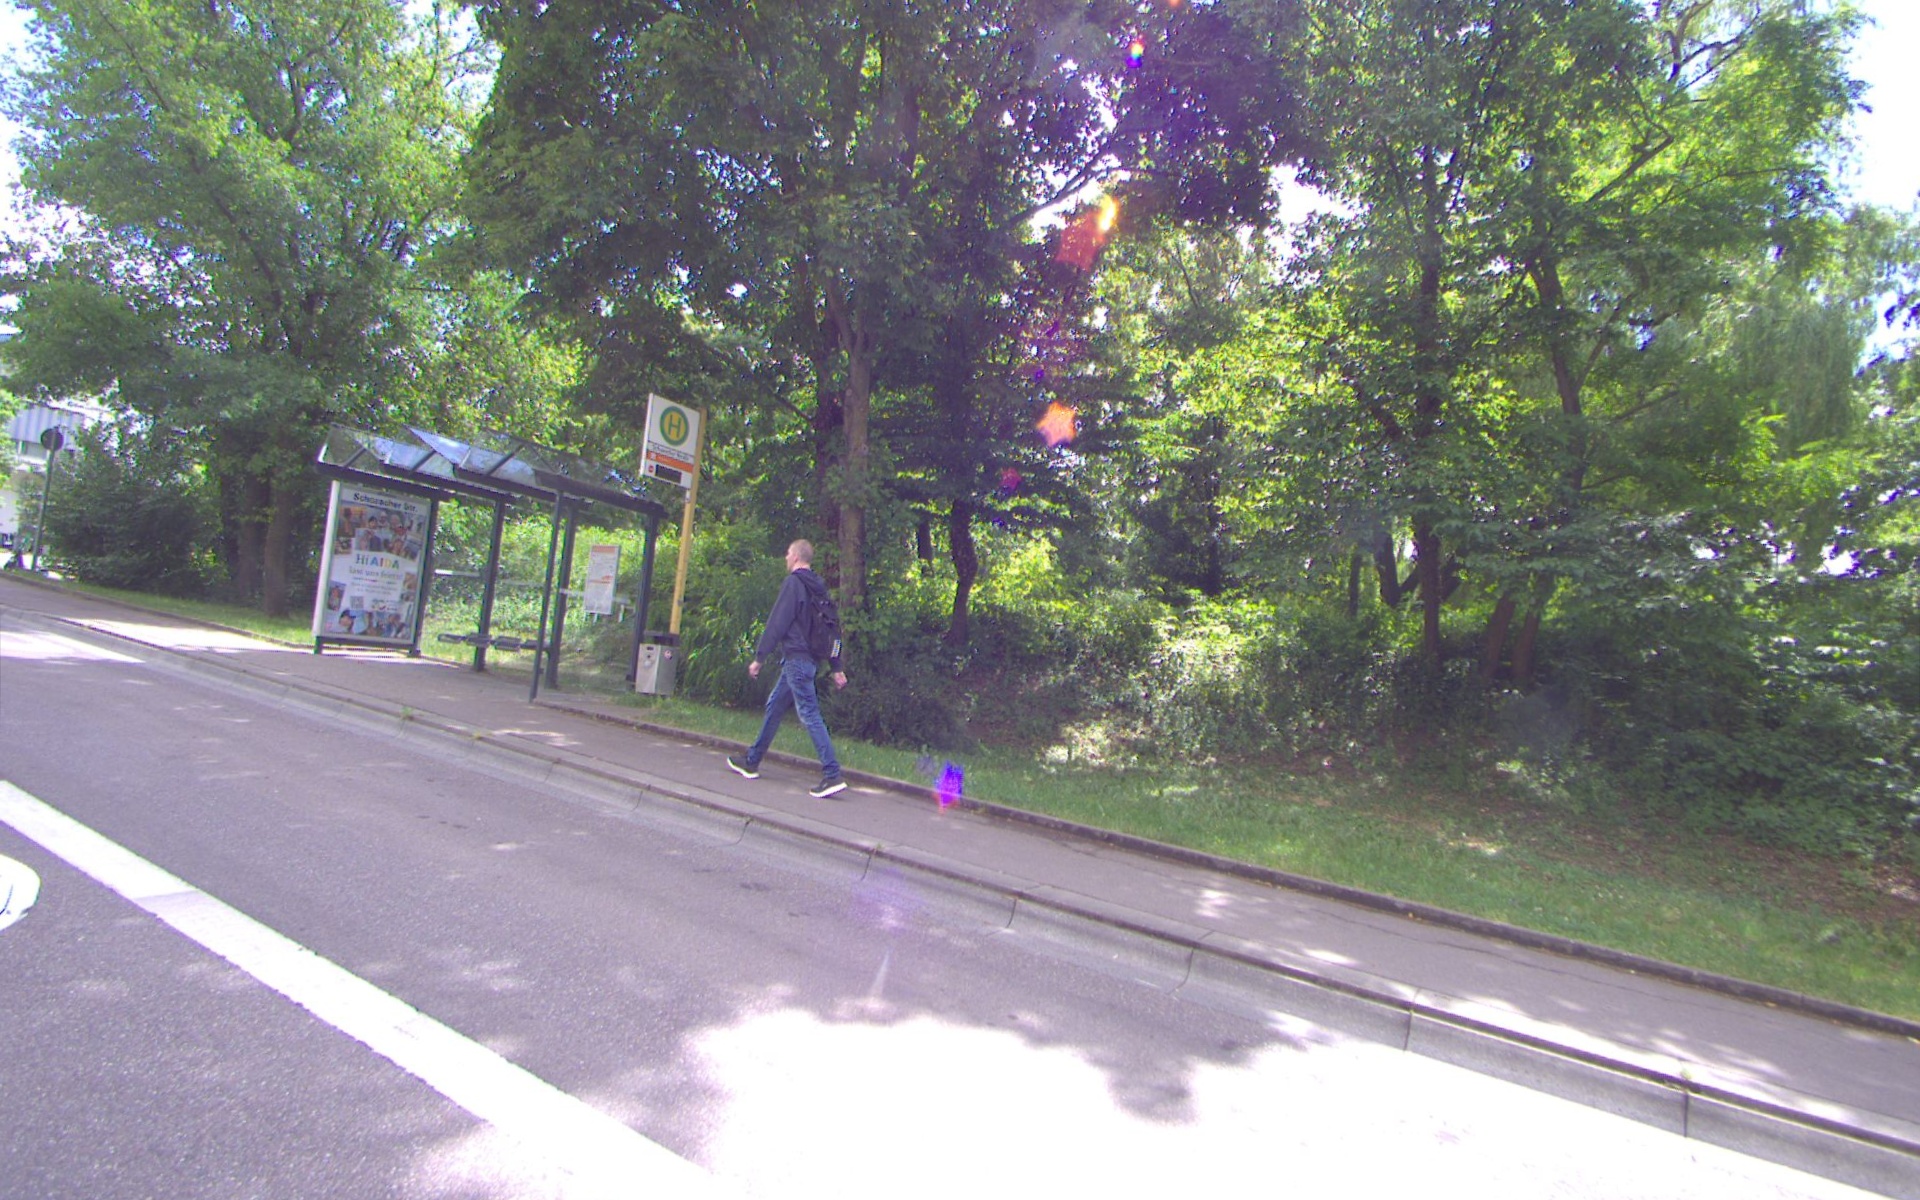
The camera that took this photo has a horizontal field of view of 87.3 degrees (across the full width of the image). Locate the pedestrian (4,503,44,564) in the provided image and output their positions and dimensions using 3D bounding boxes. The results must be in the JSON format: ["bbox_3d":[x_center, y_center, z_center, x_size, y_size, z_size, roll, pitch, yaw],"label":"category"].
[{"bbox_3d":[-29.686,-2.110,31.917,0.612,1.808,0.562,12,-5,-40],"label":"pedestrian"}]

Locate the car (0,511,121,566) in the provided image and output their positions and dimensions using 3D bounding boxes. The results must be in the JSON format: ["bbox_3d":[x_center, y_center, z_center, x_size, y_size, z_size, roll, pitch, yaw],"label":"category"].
[{"bbox_3d":[-36.515,-2.467,40.581,1.679,1.619,3.592,6,-2,20],"label":"car"}]

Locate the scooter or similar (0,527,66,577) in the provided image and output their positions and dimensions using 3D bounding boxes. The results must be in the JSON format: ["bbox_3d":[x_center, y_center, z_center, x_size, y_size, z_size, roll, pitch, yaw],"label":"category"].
[{"bbox_3d":[-23.272,-1.199,25.273,0.325,1.112,1.153,7,-2,9],"label":"scooter or similar"}]

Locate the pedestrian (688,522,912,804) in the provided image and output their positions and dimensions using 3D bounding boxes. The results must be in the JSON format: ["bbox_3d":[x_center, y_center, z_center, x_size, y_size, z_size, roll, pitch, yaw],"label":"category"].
[{"bbox_3d":[-1.223,0.455,7.705,1.250,1.917,0.802,7,-2,33],"label":"pedestrian"}]
